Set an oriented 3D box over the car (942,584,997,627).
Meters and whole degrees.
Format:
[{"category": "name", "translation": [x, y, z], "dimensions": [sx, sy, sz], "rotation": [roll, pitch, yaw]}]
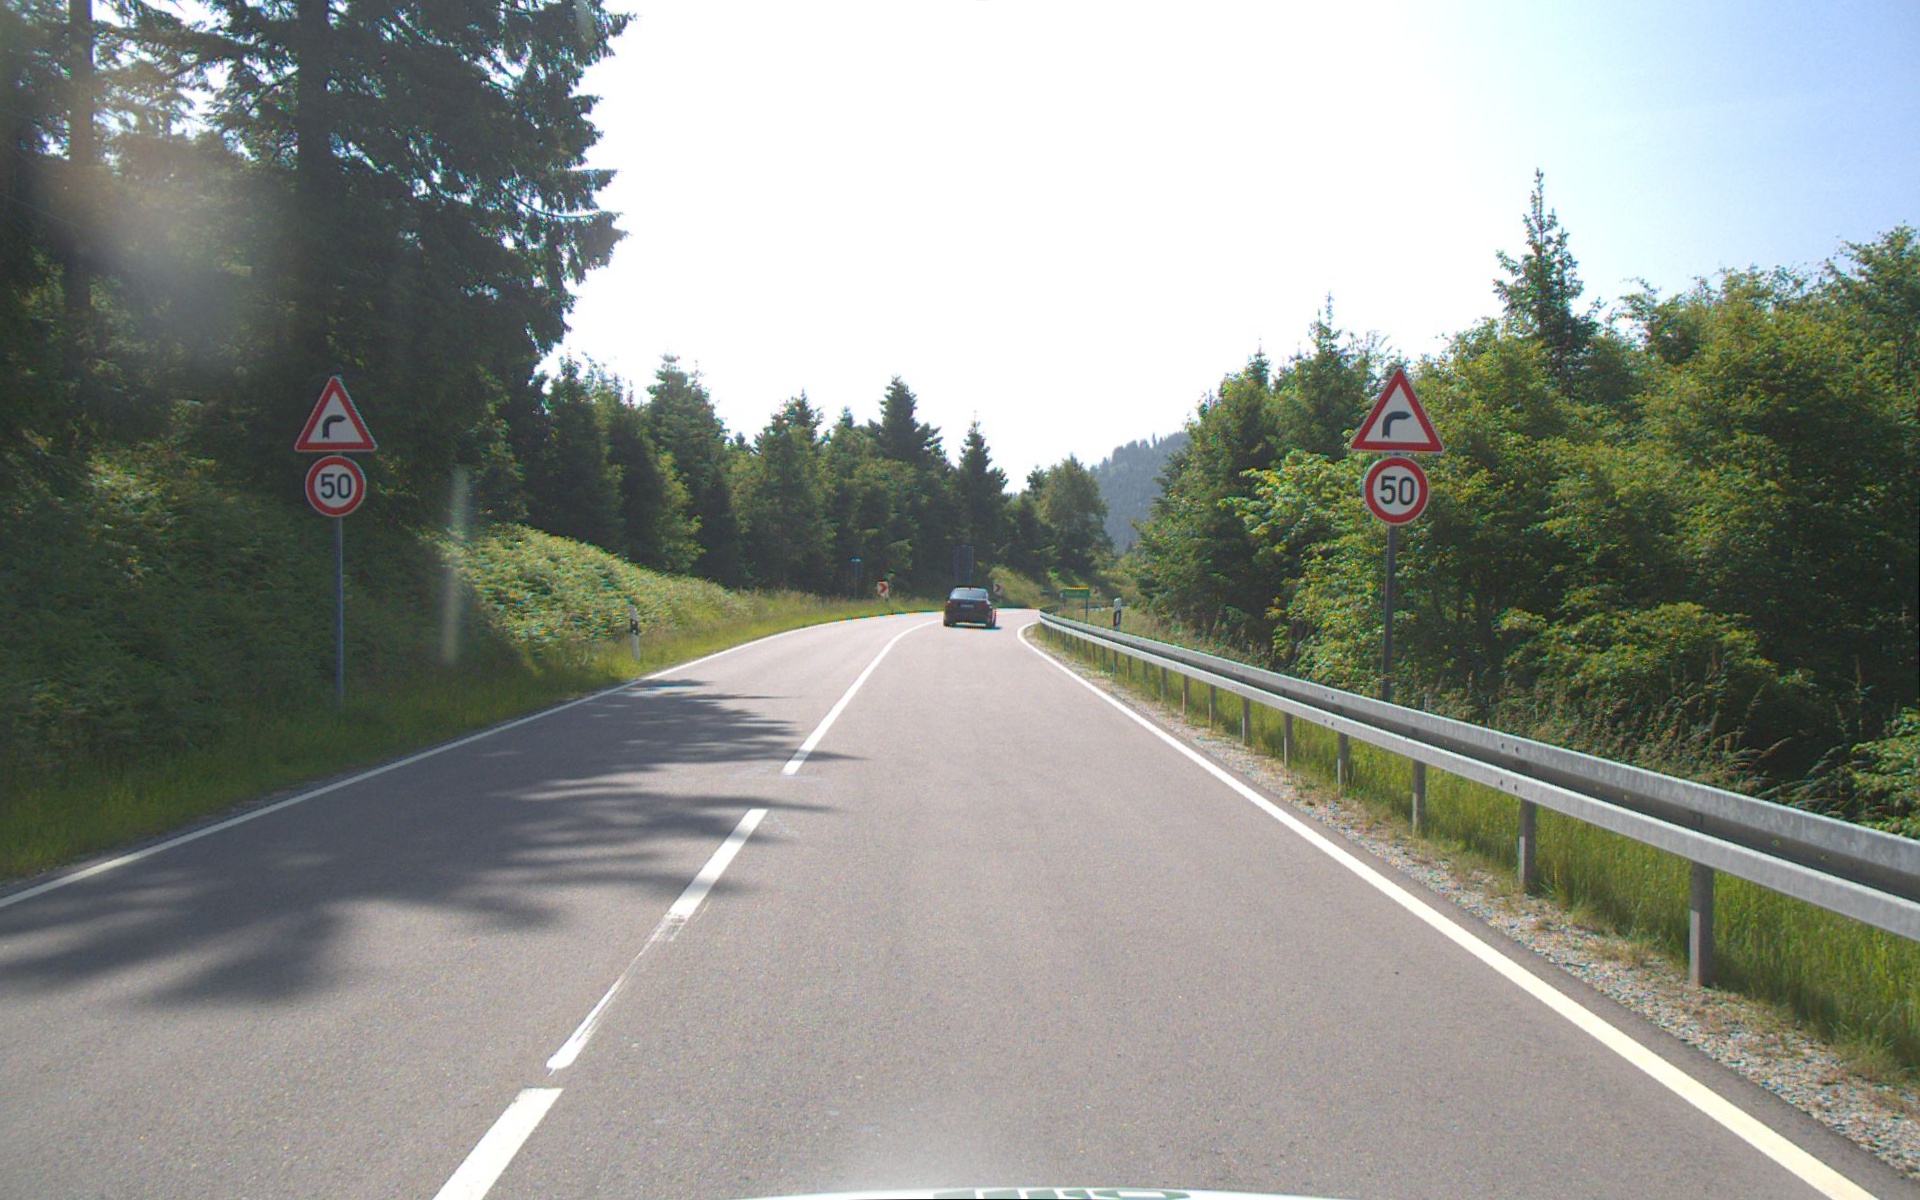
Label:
[{"category": "car", "translation": [0.374, 0.167, 60.955], "dimensions": [1.739, 1.467, 3.711], "rotation": [2, 1, 4]}]
